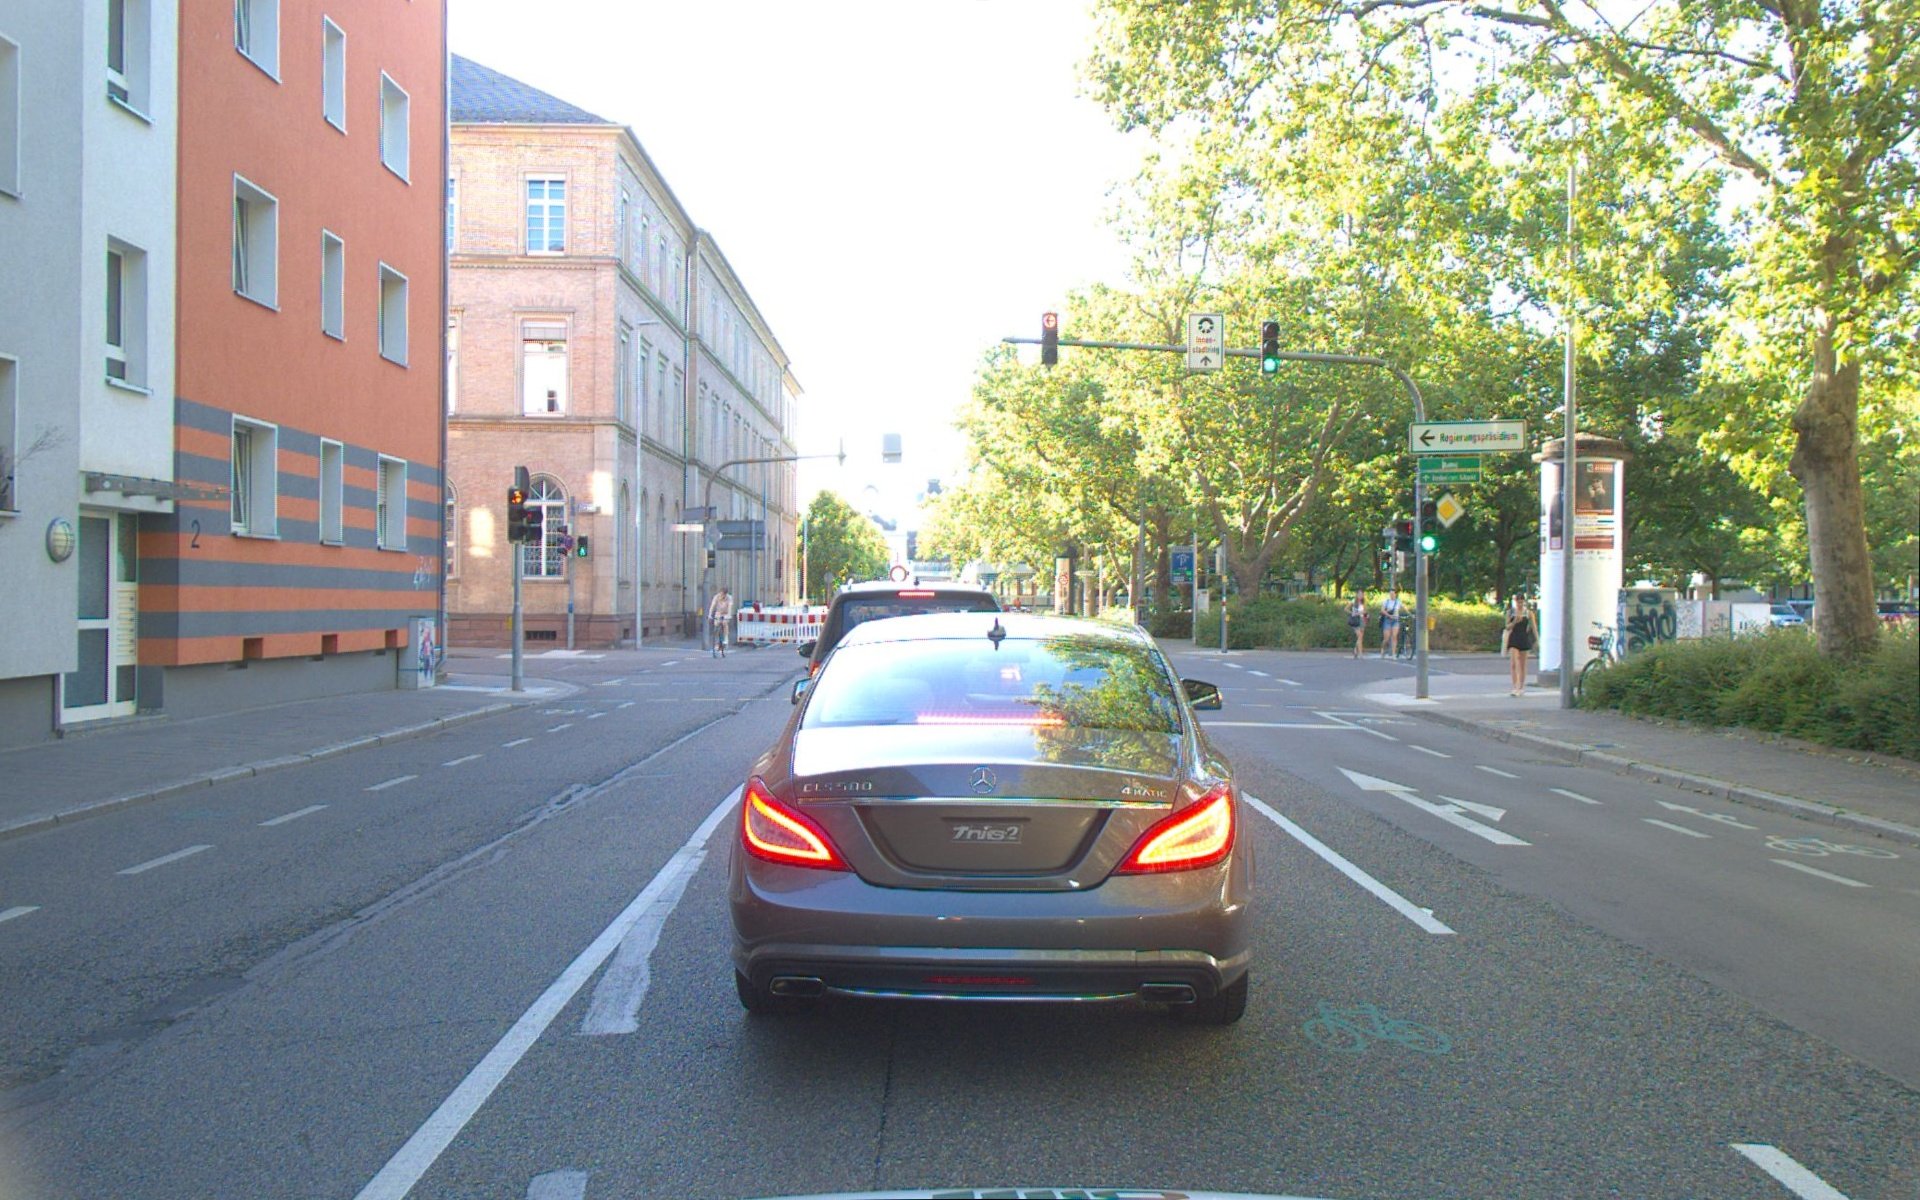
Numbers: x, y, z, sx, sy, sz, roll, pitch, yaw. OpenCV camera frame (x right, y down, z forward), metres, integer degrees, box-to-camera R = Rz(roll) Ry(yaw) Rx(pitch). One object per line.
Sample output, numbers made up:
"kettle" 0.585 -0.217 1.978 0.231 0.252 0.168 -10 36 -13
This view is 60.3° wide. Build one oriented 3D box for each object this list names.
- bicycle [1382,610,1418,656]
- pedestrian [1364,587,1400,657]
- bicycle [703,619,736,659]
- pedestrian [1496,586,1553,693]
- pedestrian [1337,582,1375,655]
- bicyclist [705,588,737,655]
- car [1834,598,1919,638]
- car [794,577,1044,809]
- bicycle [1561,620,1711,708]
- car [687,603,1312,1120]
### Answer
"bicycle" 11.043 0.818 41.574 0.513 1.119 1.742 1 0 3
"pedestrian" 10.625 0.545 41.646 0.669 1.727 0.971 1 0 3
"bicycle" -5.752 0.923 39.607 0.537 0.906 1.867 1 0 -1
"pedestrian" 9.023 0.630 26.472 0.781 1.659 0.908 -1 -1 16
"pedestrian" 10.000 0.470 41.764 0.717 1.840 0.909 0 -1 -1
"bicyclist" -5.725 0.505 39.684 0.635 1.586 0.806 1 -1 -2
"car" 36.270 0.688 65.140 1.596 1.508 3.794 1 0 -2
"car" -0.263 0.666 13.712 1.772 1.641 4.000 0 0 1
"bicycle" 9.700 0.908 23.752 1.936 1.210 0.528 1 -1 -2
"car" 0.296 0.764 7.079 1.804 1.454 4.520 1 0 5
